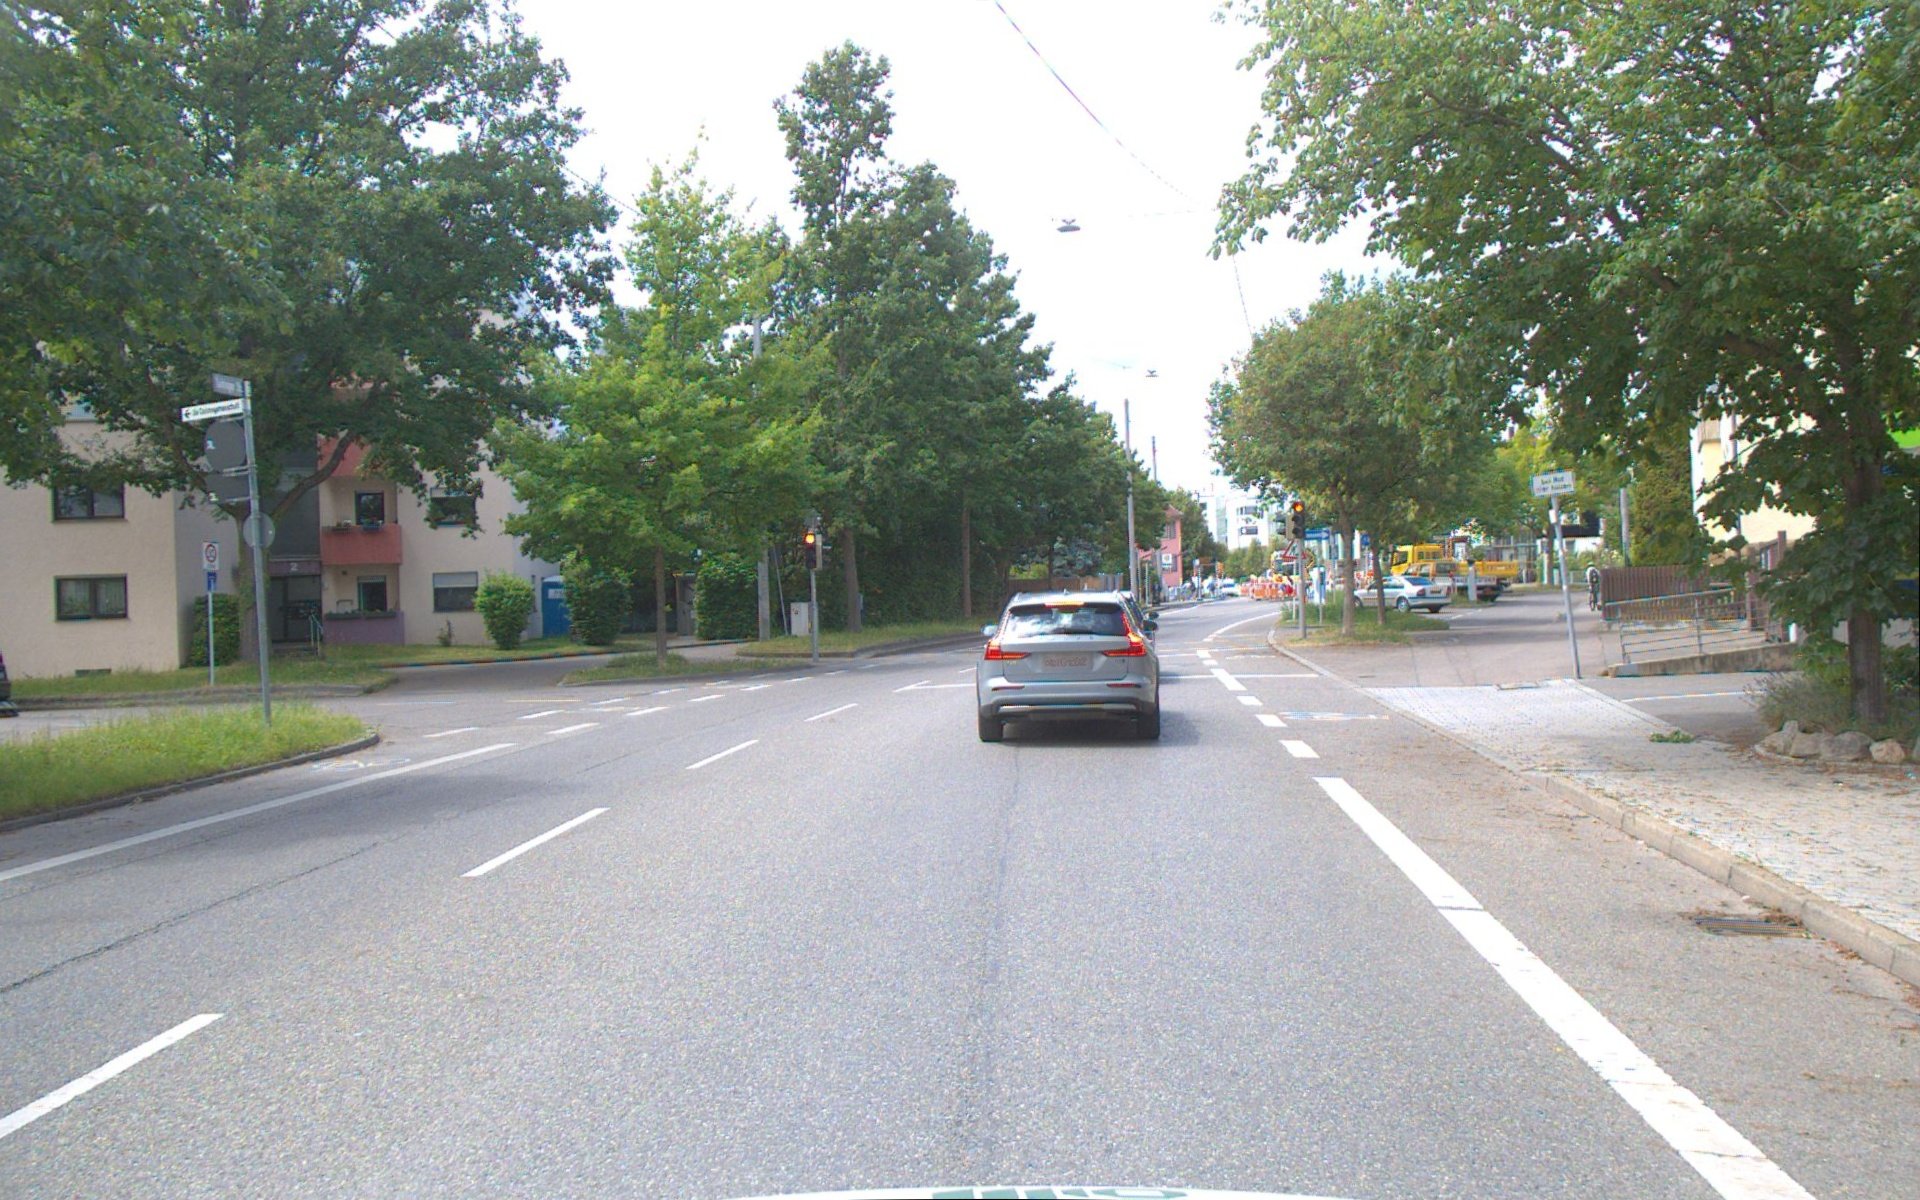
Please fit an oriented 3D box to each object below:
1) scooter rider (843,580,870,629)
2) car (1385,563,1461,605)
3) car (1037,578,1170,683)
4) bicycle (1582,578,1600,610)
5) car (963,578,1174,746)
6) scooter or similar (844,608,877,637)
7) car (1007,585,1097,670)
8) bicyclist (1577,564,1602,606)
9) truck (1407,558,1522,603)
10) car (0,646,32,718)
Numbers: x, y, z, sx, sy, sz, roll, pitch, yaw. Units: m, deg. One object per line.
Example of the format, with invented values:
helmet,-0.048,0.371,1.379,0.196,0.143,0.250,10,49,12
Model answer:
scooter rider,-3.697,0.168,59.211,0.698,1.758,0.672,0,-1,-33
car,23.471,-0.791,83.804,3.724,2.049,1.721,0,-1,-35
car,2.457,0.443,27.375,1.766,1.550,4.333,1,1,10
bicycle,21.716,-0.195,56.914,0.452,1.053,2.762,-1,-1,23
car,1.299,0.572,17.856,1.914,1.550,4.333,-2,0,8
scooter or similar,-3.571,0.810,59.280,0.944,0.978,0.682,-1,-1,-34
car,1.911,0.579,35.286,1.767,1.644,4.330,1,-1,2
bicyclist,21.769,-0.520,57.191,0.762,1.424,0.702,-1,-1,22
truck,24.061,-0.904,78.765,5.540,2.049,2.067,0,-1,-31
car,-21.233,1.706,33.337,4.000,1.424,1.791,-1,-4,-7
